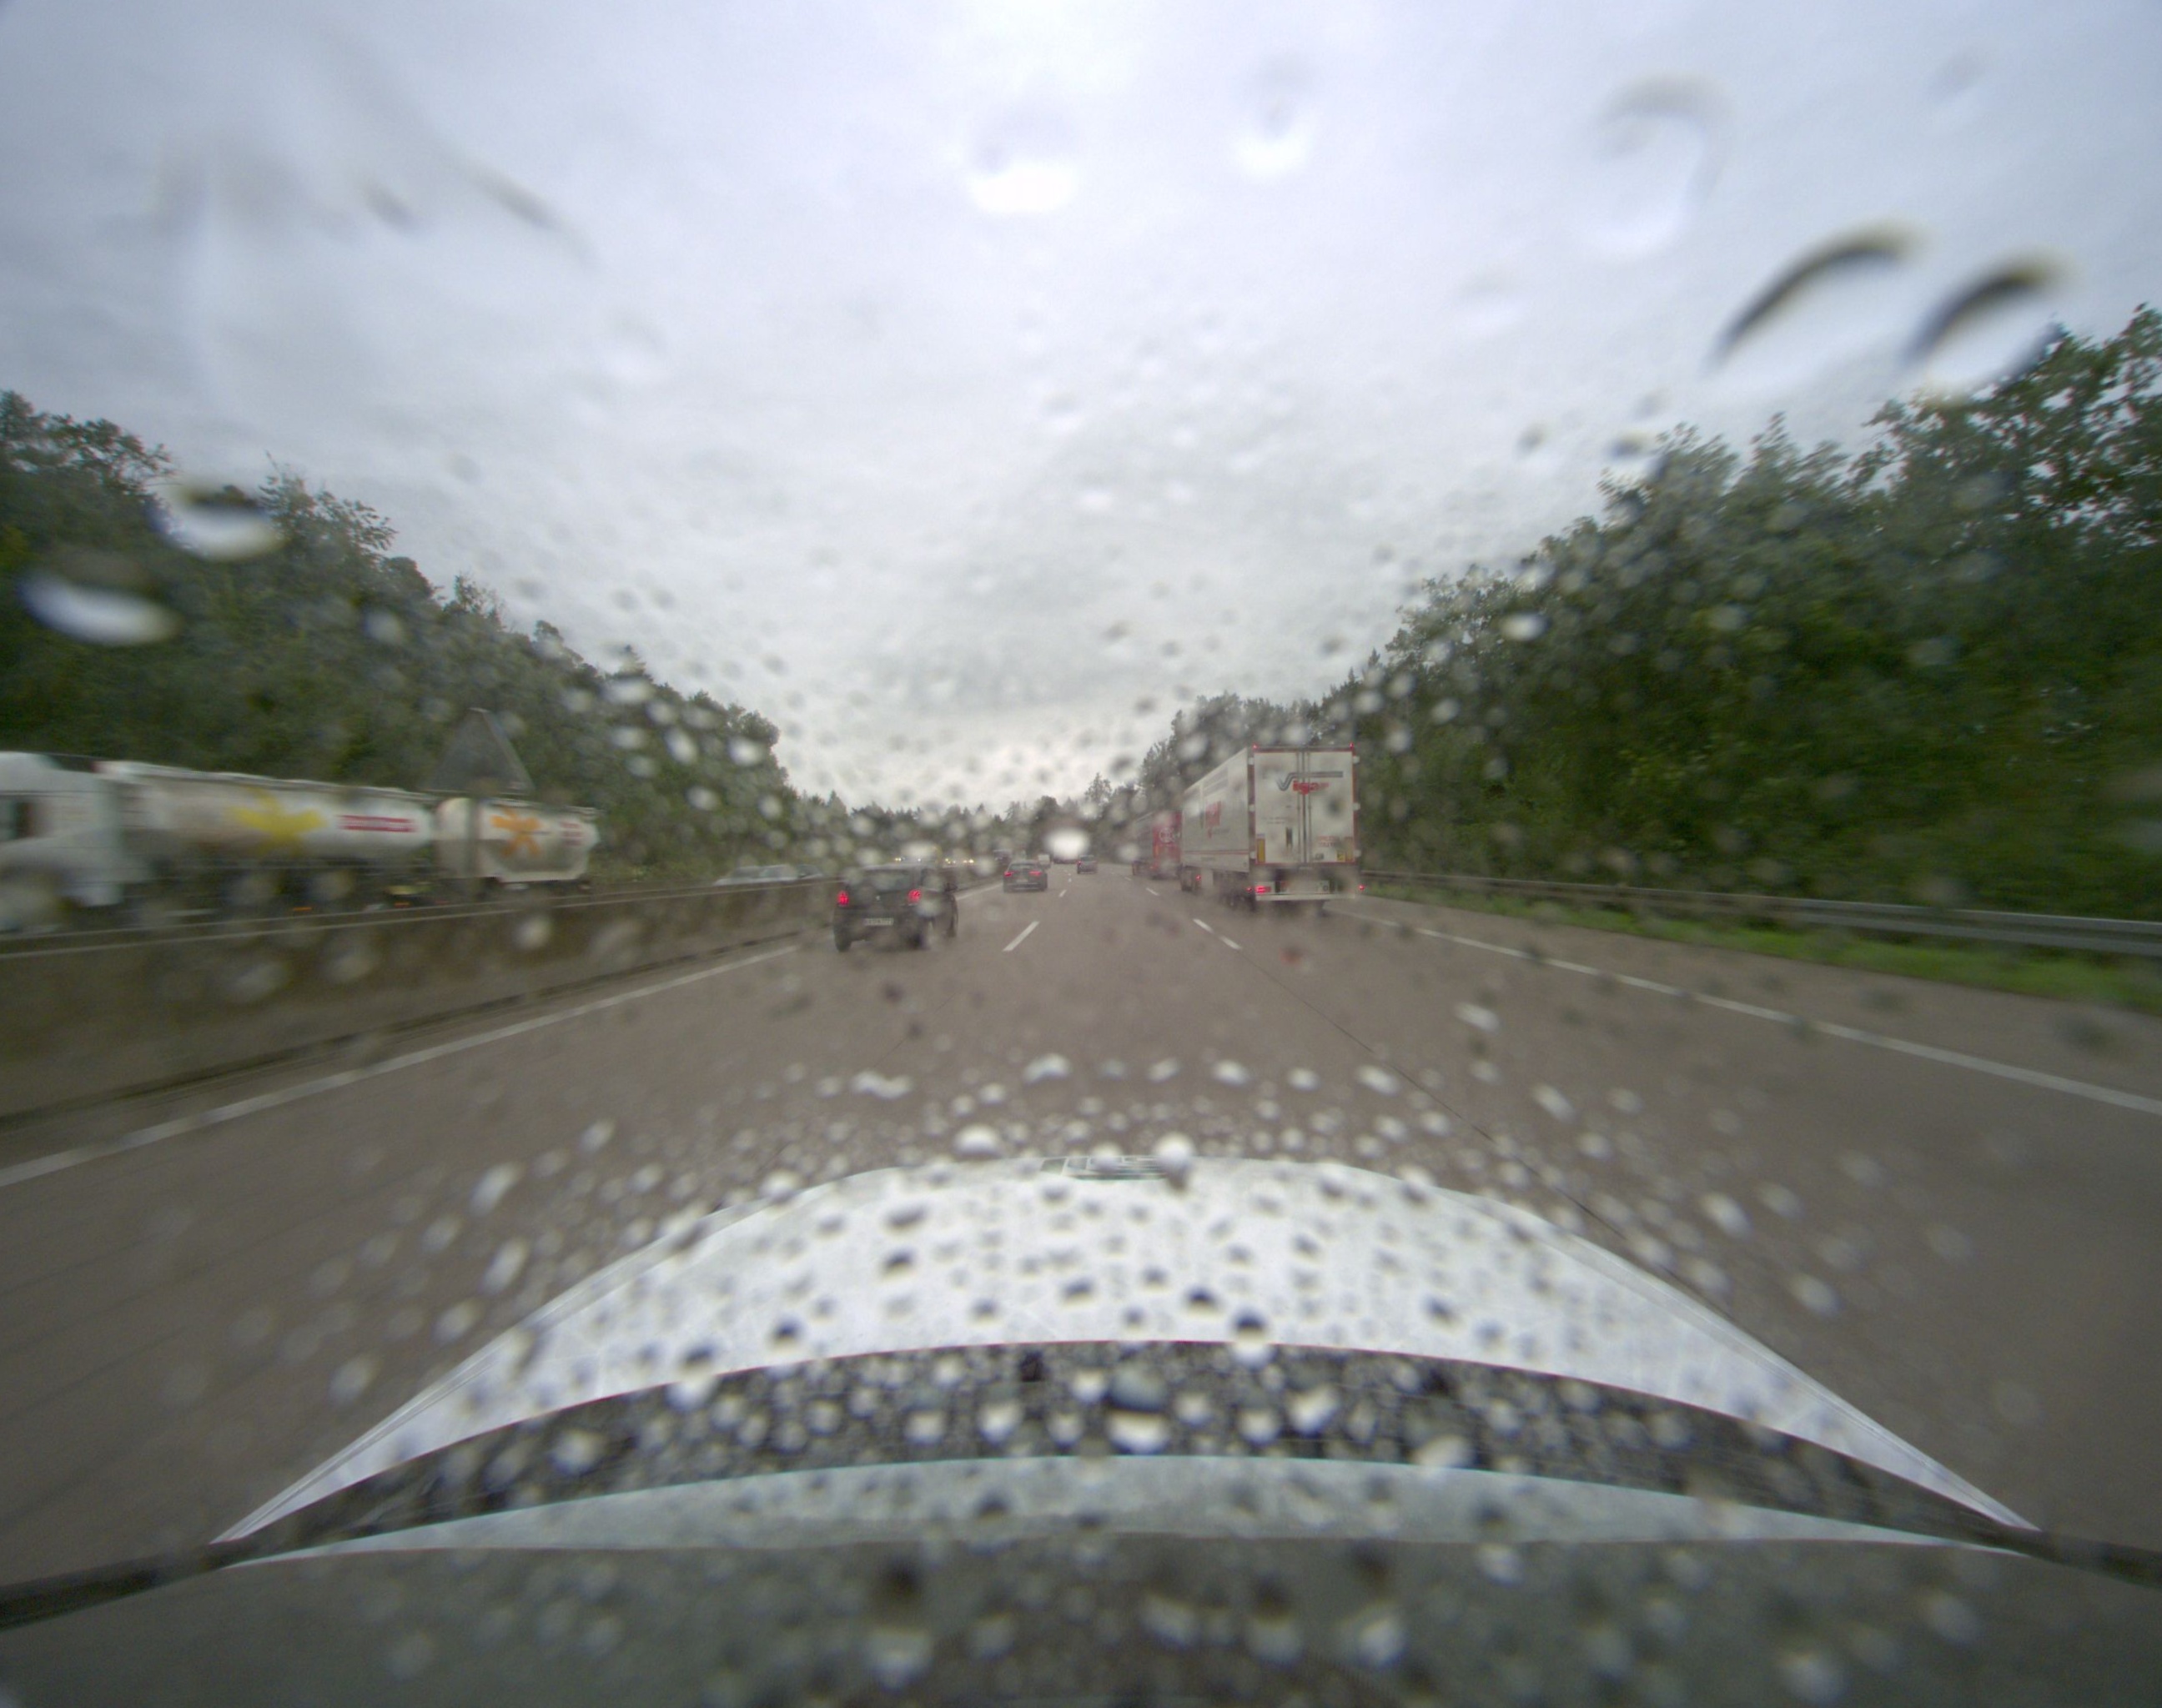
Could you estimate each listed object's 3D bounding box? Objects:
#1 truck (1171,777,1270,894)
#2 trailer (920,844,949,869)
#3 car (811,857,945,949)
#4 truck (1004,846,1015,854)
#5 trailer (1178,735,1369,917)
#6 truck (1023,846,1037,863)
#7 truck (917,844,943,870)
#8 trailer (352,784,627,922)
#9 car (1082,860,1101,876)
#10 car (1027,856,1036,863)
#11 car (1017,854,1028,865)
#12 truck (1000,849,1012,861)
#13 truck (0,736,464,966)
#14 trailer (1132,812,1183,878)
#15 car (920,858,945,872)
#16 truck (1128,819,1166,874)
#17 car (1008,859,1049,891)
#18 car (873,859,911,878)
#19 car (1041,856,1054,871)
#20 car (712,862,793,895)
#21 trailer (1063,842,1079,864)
[{"bbox_3d":[5.318,-0.662,32.101,2.789,4.103,5.967,-1,0,0],"label":"truck"},{"bbox_3d":[-23.867,0.429,133.144,3.008,3.874,13.682,-1,0,-4],"label":"trailer"},{"bbox_3d":[-3.594,0.804,15.044,1.680,1.462,3.680,1,0,-2],"label":"car"},{"bbox_3d":[-21.066,-1.078,239.308,2.969,2.309,6.657,1,0,-4],"label":"truck"},{"bbox_3d":[5.217,-0.642,25.479,2.725,4.103,13.681,-1,0,0],"label":"trailer"},{"bbox_3d":[-13.159,0.009,208.453,3.363,4.131,10.420,-1,1,-5],"label":"truck"},{"bbox_3d":[-23.442,0.408,126.569,3.020,3.874,8.105,-1,0,-4],"label":"truck"},{"bbox_3d":[-18.158,-0.026,25.945,2.536,3.667,8.232,-1,0,1],"label":"trailer"},{"bbox_3d":[0.878,1.222,71.548,1.549,1.351,3.682,1,0,-1],"label":"car"},{"bbox_3d":[-10.813,1.111,177.725,1.876,1.473,3.998,1,0,-1],"label":"car"},{"bbox_3d":[-11.413,1.122,158.402,1.990,2.059,3.994,-2,0,-4],"label":"car"},{"bbox_3d":[-20.180,0.187,218.671,3.077,2.905,7.890,-1,1,-5],"label":"truck"},{"bbox_3d":[-18.393,-0.031,17.167,2.555,3.667,10.494,-1,0,1],"label":"truck"},{"bbox_3d":[4.963,-0.525,55.007,2.362,3.954,12.520,-1,0,1],"label":"trailer"},{"bbox_3d":[-15.689,1.152,86.160,1.796,1.333,4.563,-1,0,-1],"label":"car"},{"bbox_3d":[5.008,-0.519,62.348,2.367,3.954,6.159,-1,0,0],"label":"truck"},{"bbox_3d":[-2.367,0.949,37.661,1.548,1.351,3.684,1,0,1],"label":"car"},{"bbox_3d":[-14.742,1.115,63.749,1.796,1.333,4.564,-1,0,0],"label":"car"},{"bbox_3d":[-4.682,1.260,113.174,1.722,2.013,3.652,-2,0,-3],"label":"car"},{"bbox_3d":[-14.848,1.071,37.142,1.653,1.371,4.722,-1,0,1],"label":"car"},{"bbox_3d":[-2.008,-0.194,156.906,2.415,4.068,12.037,-1,1,-4],"label":"trailer"}]
